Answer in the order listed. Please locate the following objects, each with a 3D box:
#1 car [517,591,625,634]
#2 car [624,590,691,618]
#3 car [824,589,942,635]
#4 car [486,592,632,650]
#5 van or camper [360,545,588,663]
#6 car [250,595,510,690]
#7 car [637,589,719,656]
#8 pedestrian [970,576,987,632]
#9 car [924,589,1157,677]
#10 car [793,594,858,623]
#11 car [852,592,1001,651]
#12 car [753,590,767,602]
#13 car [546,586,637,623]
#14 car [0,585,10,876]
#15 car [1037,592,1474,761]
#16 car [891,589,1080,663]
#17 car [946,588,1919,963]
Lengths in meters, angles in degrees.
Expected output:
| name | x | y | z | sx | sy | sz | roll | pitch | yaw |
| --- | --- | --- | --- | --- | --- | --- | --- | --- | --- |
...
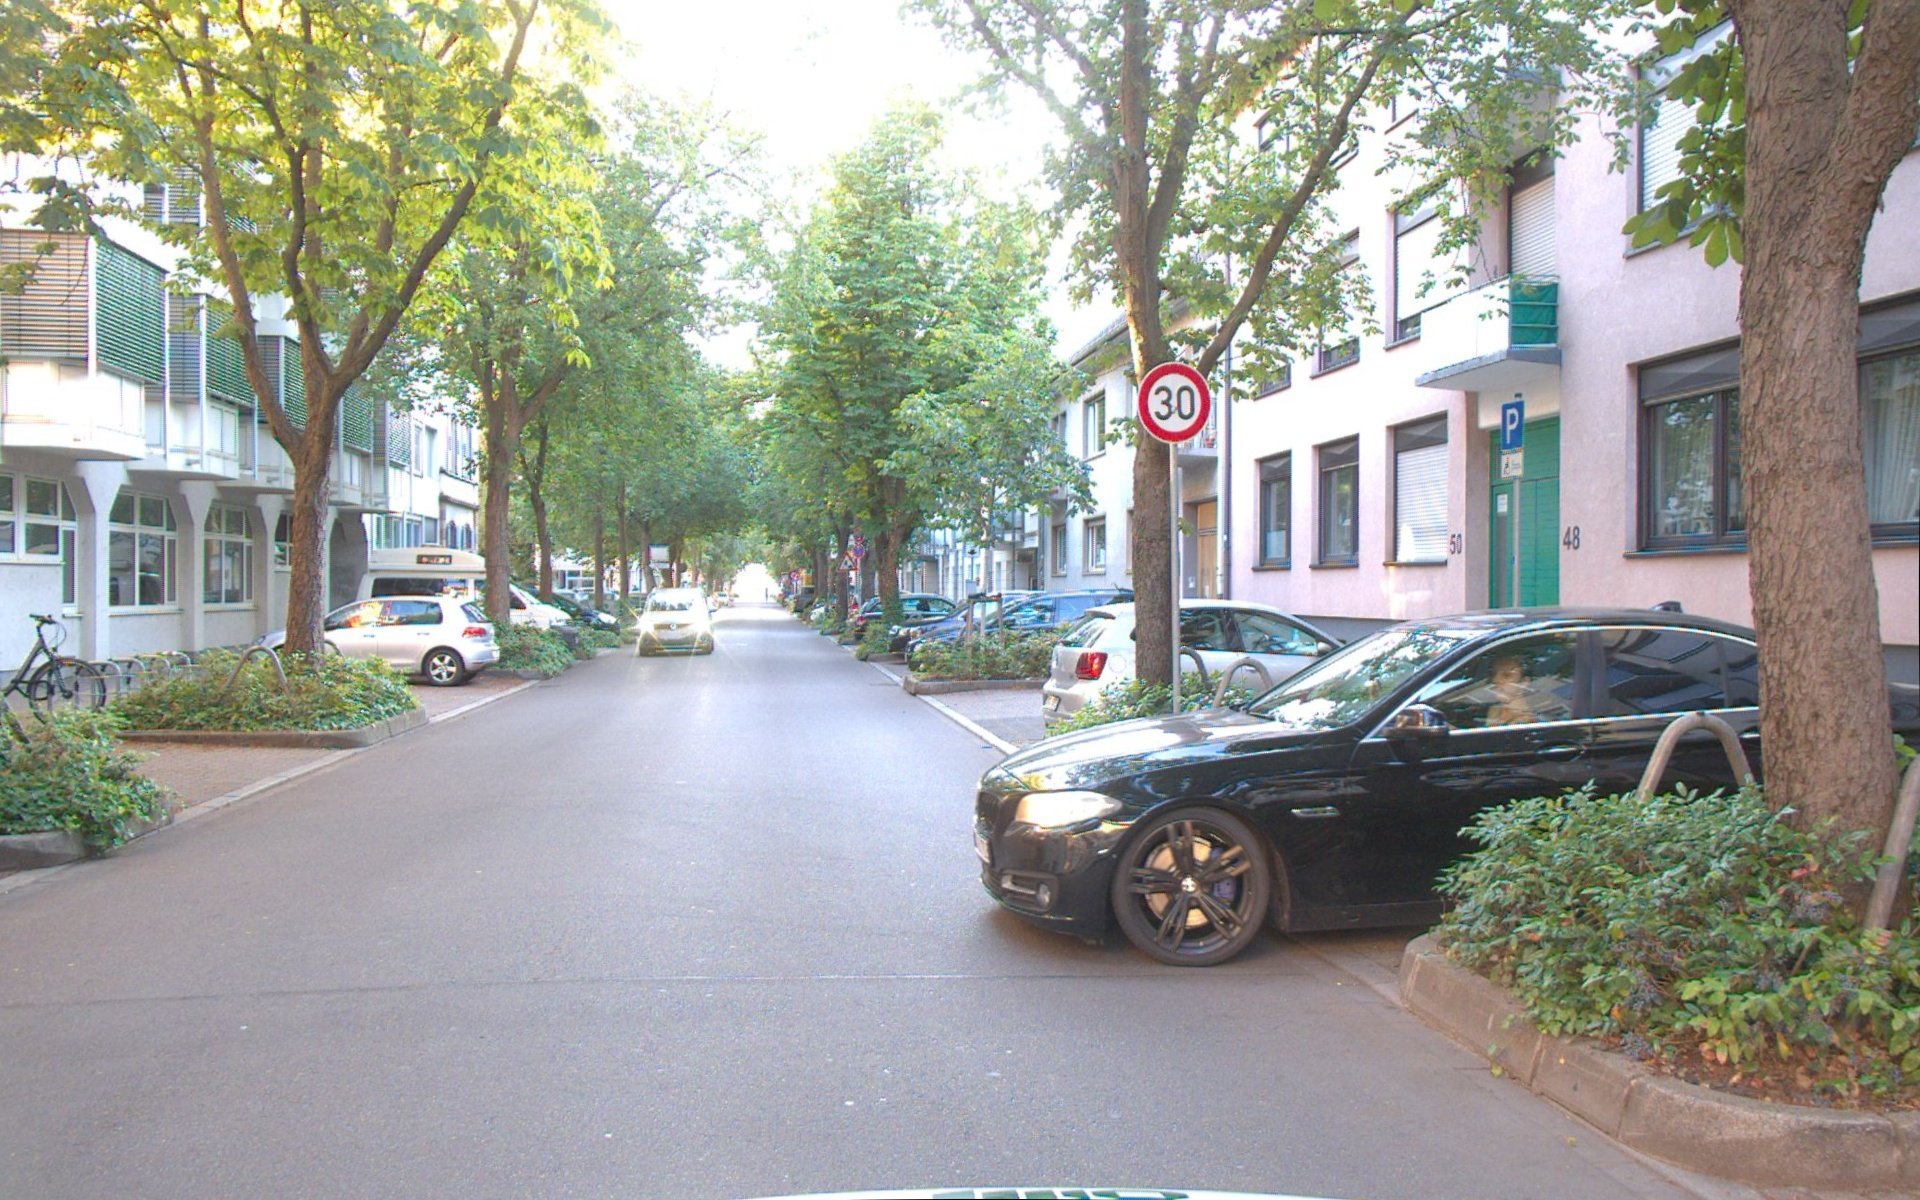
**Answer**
| name | x | y | z | sx | sy | sz | roll | pitch | yaw |
| --- | --- | --- | --- | --- | --- | --- | --- | --- | --- |
| car | -15.043 | 0.472 | 64.124 | 3.891 | 1.647 | 1.783 | 0 | 0 | -6 |
| car | -18.568 | 0.242 | 101.653 | 3.891 | 1.647 | 1.783 | 0 | 0 | -6 |
| car | -2.657 | 0.396 | 56.632 | 3.894 | 1.554 | 1.782 | 0 | 0 | -9 |
| car | -11.518 | 0.587 | 47.711 | 3.892 | 1.647 | 1.783 | 0 | 0 | -6 |
| van or camper | -10.697 | 0.072 | 36.734 | 4.575 | 2.521 | 1.997 | 0 | 0 | -8 |
| car | -9.885 | 0.697 | 28.431 | 3.892 | 1.544 | 1.783 | 0 | 0 | -6 |
| car | -6.990 | 0.512 | 41.338 | 1.745 | 1.589 | 4.162 | 0 | 0 | -6 |
| pedestrian | 0.674 | 0.147 | 61.332 | 0.577 | 2.049 | 0.669 | 0 | 0 | -6 |
| car | 1.403 | 0.556 | 29.540 | 3.894 | 1.502 | 1.781 | 0 | 0 | -9 |
| car | -8.206 | 0.523 | 100.497 | 3.891 | 1.713 | 1.783 | 0 | 0 | -6 |
| car | -0.935 | 0.562 | 44.793 | 3.893 | 1.554 | 1.782 | 0 | 0 | -8 |
| car | -26.566 | -0.538 | 219.826 | 1.787 | 1.557 | 3.995 | 0 | 0 | -6 |
| car | -16.841 | 0.186 | 75.706 | 3.891 | 1.647 | 1.783 | 0 | 0 | -6 |
| car | -7.121 | 0.707 | 7.721 | 4.272 | 1.544 | 1.782 | 0 | 0 | -7 |
| car | 2.783 | 0.677 | 15.963 | 3.836 | 1.502 | 1.661 | 0 | 0 | -9 |
| car | 0.519 | 0.548 | 36.005 | 3.893 | 1.554 | 1.782 | 0 | 0 | -8 |
| car | 2.337 | 0.699 | 7.855 | 4.655 | 1.506 | 1.797 | 0 | 0 | -7 |
